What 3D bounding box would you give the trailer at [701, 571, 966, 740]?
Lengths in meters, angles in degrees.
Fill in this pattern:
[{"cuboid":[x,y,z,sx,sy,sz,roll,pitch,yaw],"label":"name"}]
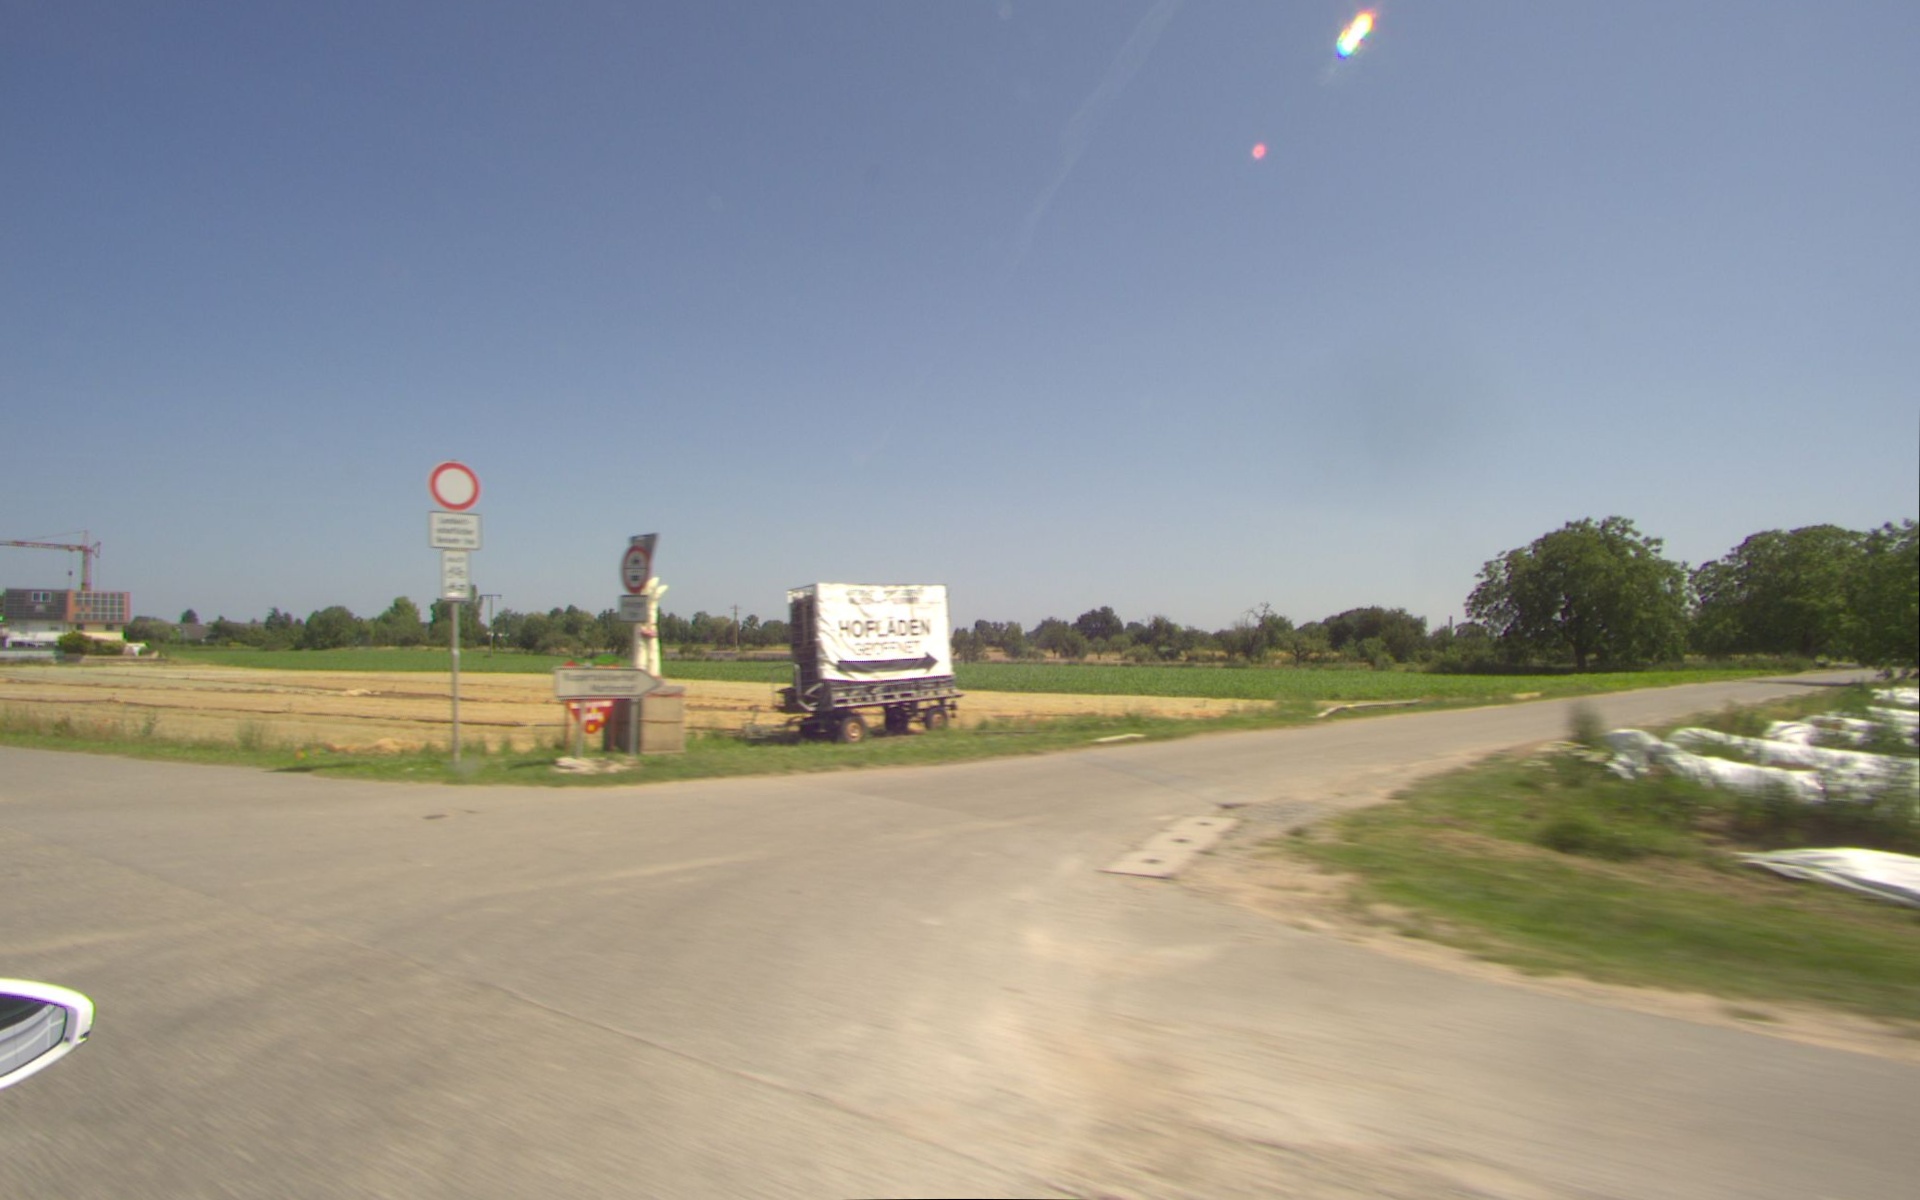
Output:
[{"cuboid":[-2.417,1.097,20.308,1.980,2.988,5.248,-4,-4,44],"label":"trailer"}]
